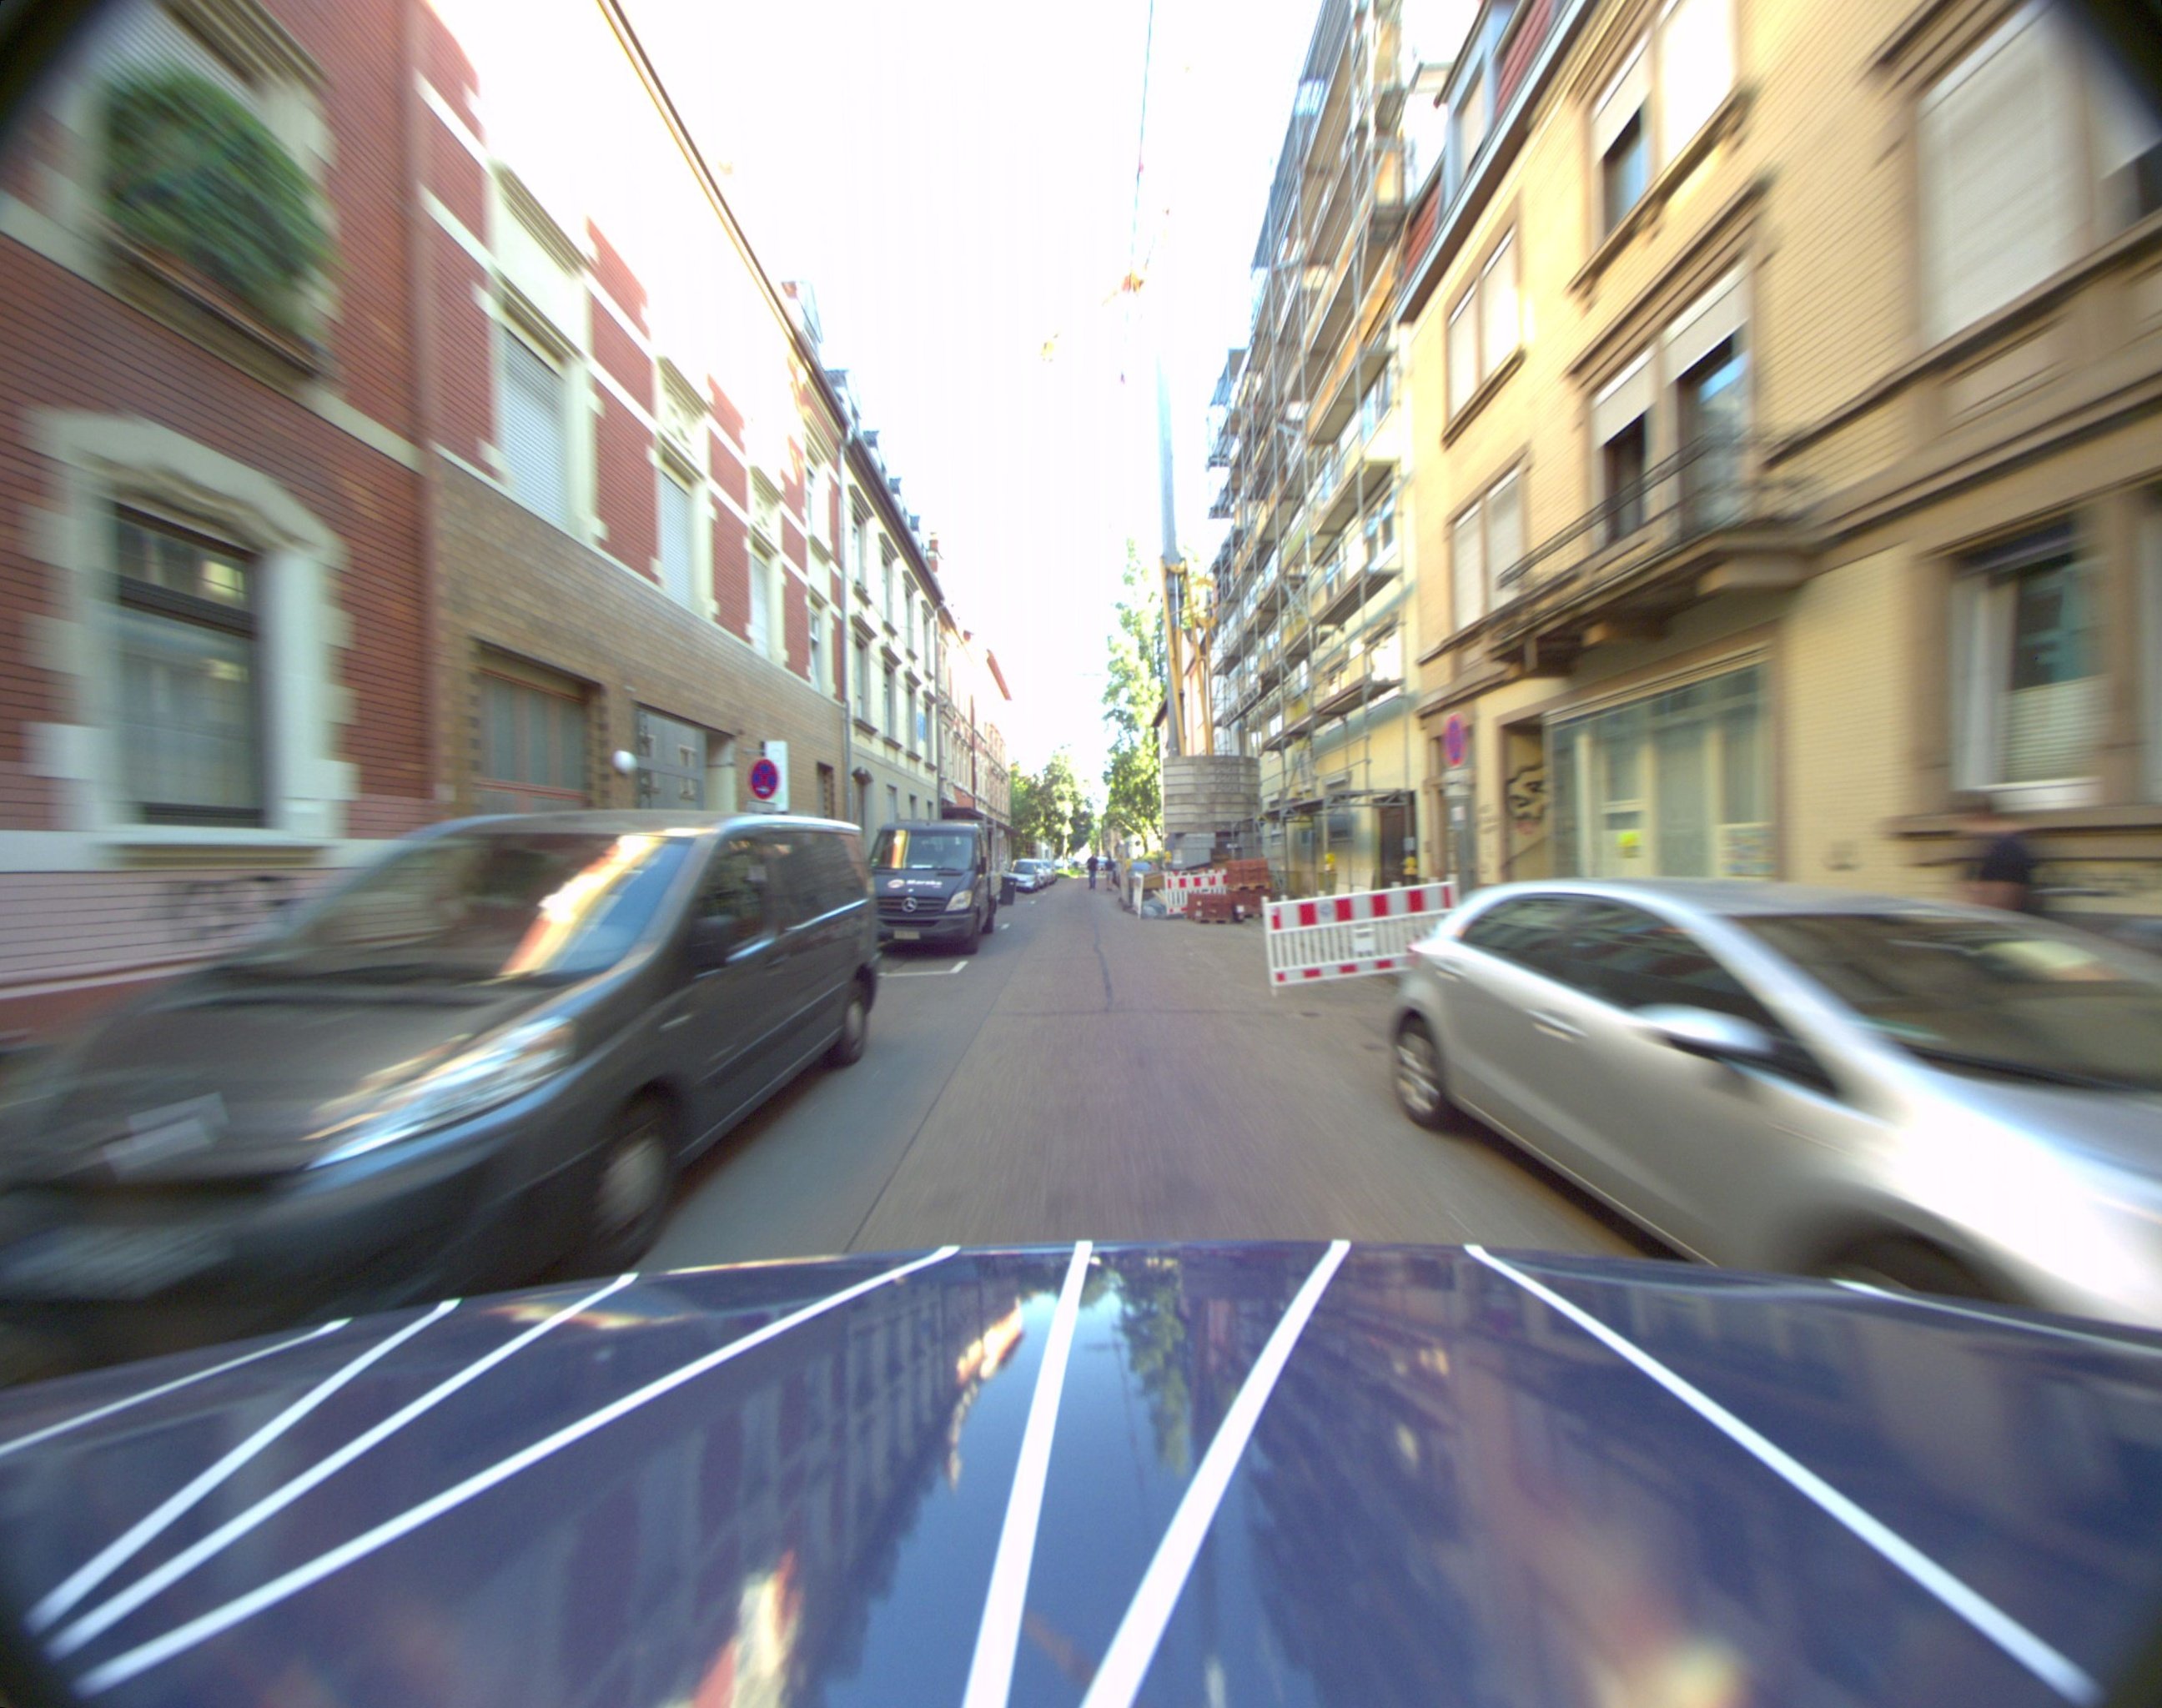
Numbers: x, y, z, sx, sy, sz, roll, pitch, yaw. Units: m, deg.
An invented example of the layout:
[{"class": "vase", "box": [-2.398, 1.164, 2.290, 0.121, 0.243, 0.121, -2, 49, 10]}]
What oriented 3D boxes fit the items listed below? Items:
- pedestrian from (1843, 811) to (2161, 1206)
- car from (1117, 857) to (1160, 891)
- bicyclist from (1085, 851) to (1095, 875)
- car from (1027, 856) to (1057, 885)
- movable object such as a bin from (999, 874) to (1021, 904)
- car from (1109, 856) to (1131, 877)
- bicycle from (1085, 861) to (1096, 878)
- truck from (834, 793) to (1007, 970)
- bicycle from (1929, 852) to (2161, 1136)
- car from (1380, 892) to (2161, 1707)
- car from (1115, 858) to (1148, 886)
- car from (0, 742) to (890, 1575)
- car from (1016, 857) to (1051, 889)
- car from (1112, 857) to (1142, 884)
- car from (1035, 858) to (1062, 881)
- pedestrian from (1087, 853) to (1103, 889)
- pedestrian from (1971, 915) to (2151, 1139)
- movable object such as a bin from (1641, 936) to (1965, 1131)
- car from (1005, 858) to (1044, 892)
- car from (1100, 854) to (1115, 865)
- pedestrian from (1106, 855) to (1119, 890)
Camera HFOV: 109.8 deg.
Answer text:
[{"class": "pedestrian", "box": [4.650, 0.688, 3.841, 0.687, 1.755, 0.887, -1, 0, -3]}, {"class": "car", "box": [2.753, 0.921, 37.271, 1.771, 1.500, 4.696, 2, 0, 0]}, {"class": "bicyclist", "box": [0.640, 0.647, 53.514, 0.666, 1.668, 0.892, 0, 1, -2]}, {"class": "car", "box": [-2.445, 1.015, 48.339, 1.603, 1.626, 3.774, -4, 0, 0]}, {"class": "movable object such as a bin", "box": [-2.572, 1.260, 27.588, 0.742, 1.051, 0.687, 0, 0, 0]}, {"class": "car", "box": [2.890, 0.923, 56.318, 1.464, 1.512, 3.660, 0, 0, 0]}, {"class": "bicycle", "box": [0.634, 1.112, 53.494, 0.688, 1.151, 1.846, 0, 0, -2]}, {"class": "truck", "box": [-2.784, 0.434, 14.841, 2.154, 2.642, 6.252, 3, 0, -2]}, {"class": "bicycle", "box": [5.756, 0.718, 4.038, 0.525, 1.417, 1.712, -5, 1, 1]}, {"class": "car", "box": [2.722, 0.947, 2.731, 1.678, 1.410, 4.000, 0, 0, -1]}, {"class": "car", "box": [2.783, 0.970, 42.584, 1.646, 1.483, 4.000, -1, 0, 0]}, {"class": "car", "box": [-2.604, 0.771, 4.131, 1.849, 1.972, 4.576, -3, 0, 0]}, {"class": "car", "box": [-2.620, 1.030, 42.730, 1.603, 1.652, 4.060, -4, 0, 0]}, {"class": "car", "box": [2.798, 0.989, 47.109, 1.646, 1.565, 4.249, 0, 0, 0]}, {"class": "car", "box": [-2.265, 1.093, 54.505, 1.646, 1.442, 4.166, -3, 0, 0]}, {"class": "pedestrian", "box": [0.716, 0.820, 37.588, 0.740, 1.743, 0.997, -1, 0, 1]}, {"class": "pedestrian", "box": [5.212, 0.892, 4.059, 0.395, 1.080, 0.431, -2, 1, -5]}, {"class": "movable object such as a bin", "box": [4.607, 1.089, 5.003, 0.764, 0.926, 1.415, -1, 0, -2]}, {"class": "car", "box": [-2.776, 0.999, 37.949, 1.525, 1.525, 3.463, 4, 0, 0]}, {"class": "car", "box": [3.921, 0.826, 112.676, 2.168, 1.508, 5.377, 0, 0, 2]}, {"class": "pedestrian", "box": [1.484, 0.875, 35.999, 0.594, 1.634, 0.813, 1, 0, 0]}]
